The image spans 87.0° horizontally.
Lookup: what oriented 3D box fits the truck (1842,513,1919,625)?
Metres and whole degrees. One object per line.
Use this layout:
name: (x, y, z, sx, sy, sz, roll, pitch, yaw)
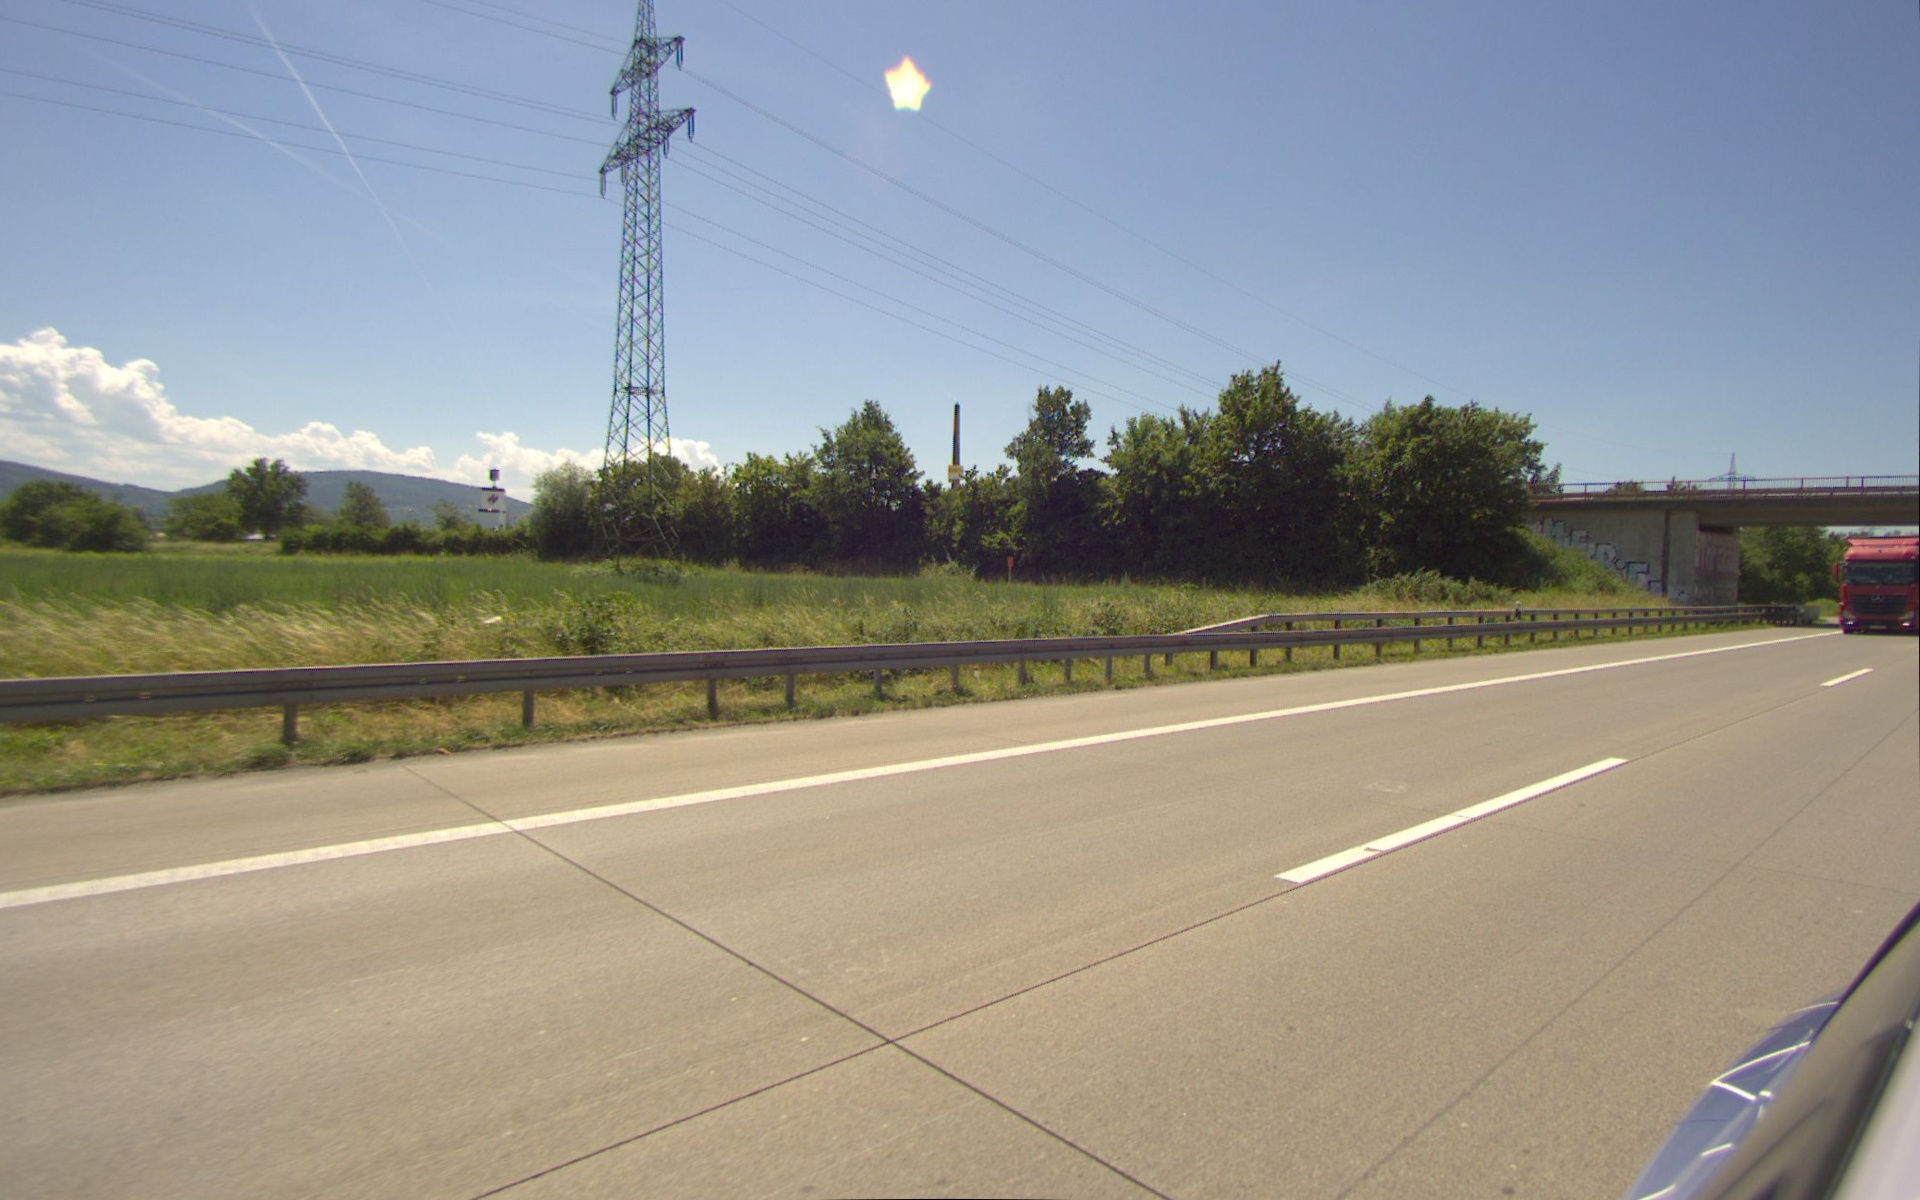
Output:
truck: (40.691, -1.251, 43.513, 10.698, 4.377, 2.852, -1, 0, -42)
